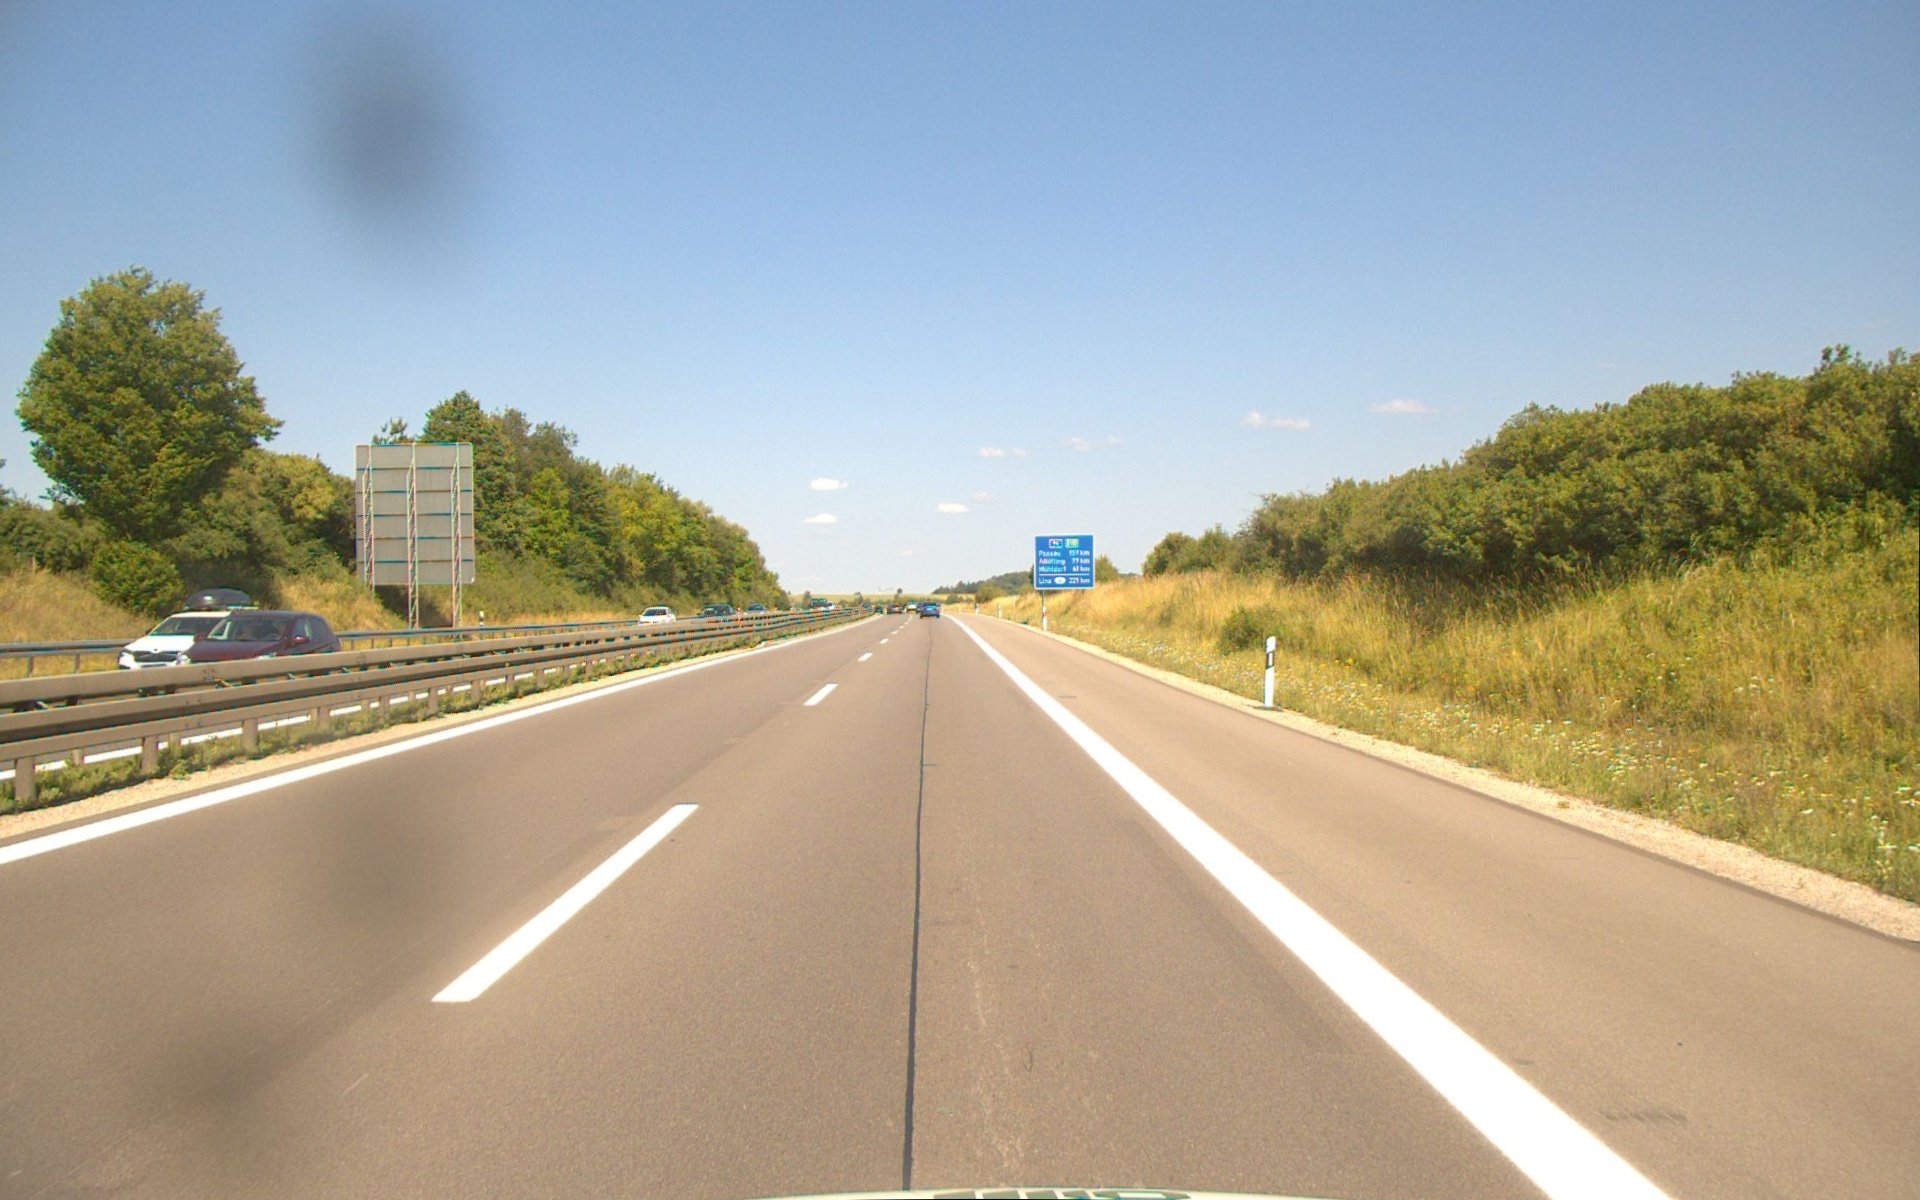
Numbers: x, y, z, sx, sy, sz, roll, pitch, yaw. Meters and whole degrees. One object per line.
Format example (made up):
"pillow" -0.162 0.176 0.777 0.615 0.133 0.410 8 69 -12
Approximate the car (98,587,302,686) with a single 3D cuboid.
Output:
"car" -15.616 0.707 34.332 1.905 1.878 5.183 0 0 -1

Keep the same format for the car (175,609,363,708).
"car" -11.719 0.942 28.316 1.583 1.558 3.999 0 0 -1

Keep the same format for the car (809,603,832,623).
"car" -14.458 1.288 171.406 1.953 2.007 5.038 -1 0 -1

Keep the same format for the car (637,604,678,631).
"car" -16.586 0.943 90.863 1.491 1.376 4.231 -1 0 -1

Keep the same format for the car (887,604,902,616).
"car" -8.929 1.358 226.083 1.792 1.478 3.591 -2 -1 0

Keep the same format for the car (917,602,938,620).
"car" -2.843 0.988 145.289 1.641 1.478 3.592 -2 -1 1
